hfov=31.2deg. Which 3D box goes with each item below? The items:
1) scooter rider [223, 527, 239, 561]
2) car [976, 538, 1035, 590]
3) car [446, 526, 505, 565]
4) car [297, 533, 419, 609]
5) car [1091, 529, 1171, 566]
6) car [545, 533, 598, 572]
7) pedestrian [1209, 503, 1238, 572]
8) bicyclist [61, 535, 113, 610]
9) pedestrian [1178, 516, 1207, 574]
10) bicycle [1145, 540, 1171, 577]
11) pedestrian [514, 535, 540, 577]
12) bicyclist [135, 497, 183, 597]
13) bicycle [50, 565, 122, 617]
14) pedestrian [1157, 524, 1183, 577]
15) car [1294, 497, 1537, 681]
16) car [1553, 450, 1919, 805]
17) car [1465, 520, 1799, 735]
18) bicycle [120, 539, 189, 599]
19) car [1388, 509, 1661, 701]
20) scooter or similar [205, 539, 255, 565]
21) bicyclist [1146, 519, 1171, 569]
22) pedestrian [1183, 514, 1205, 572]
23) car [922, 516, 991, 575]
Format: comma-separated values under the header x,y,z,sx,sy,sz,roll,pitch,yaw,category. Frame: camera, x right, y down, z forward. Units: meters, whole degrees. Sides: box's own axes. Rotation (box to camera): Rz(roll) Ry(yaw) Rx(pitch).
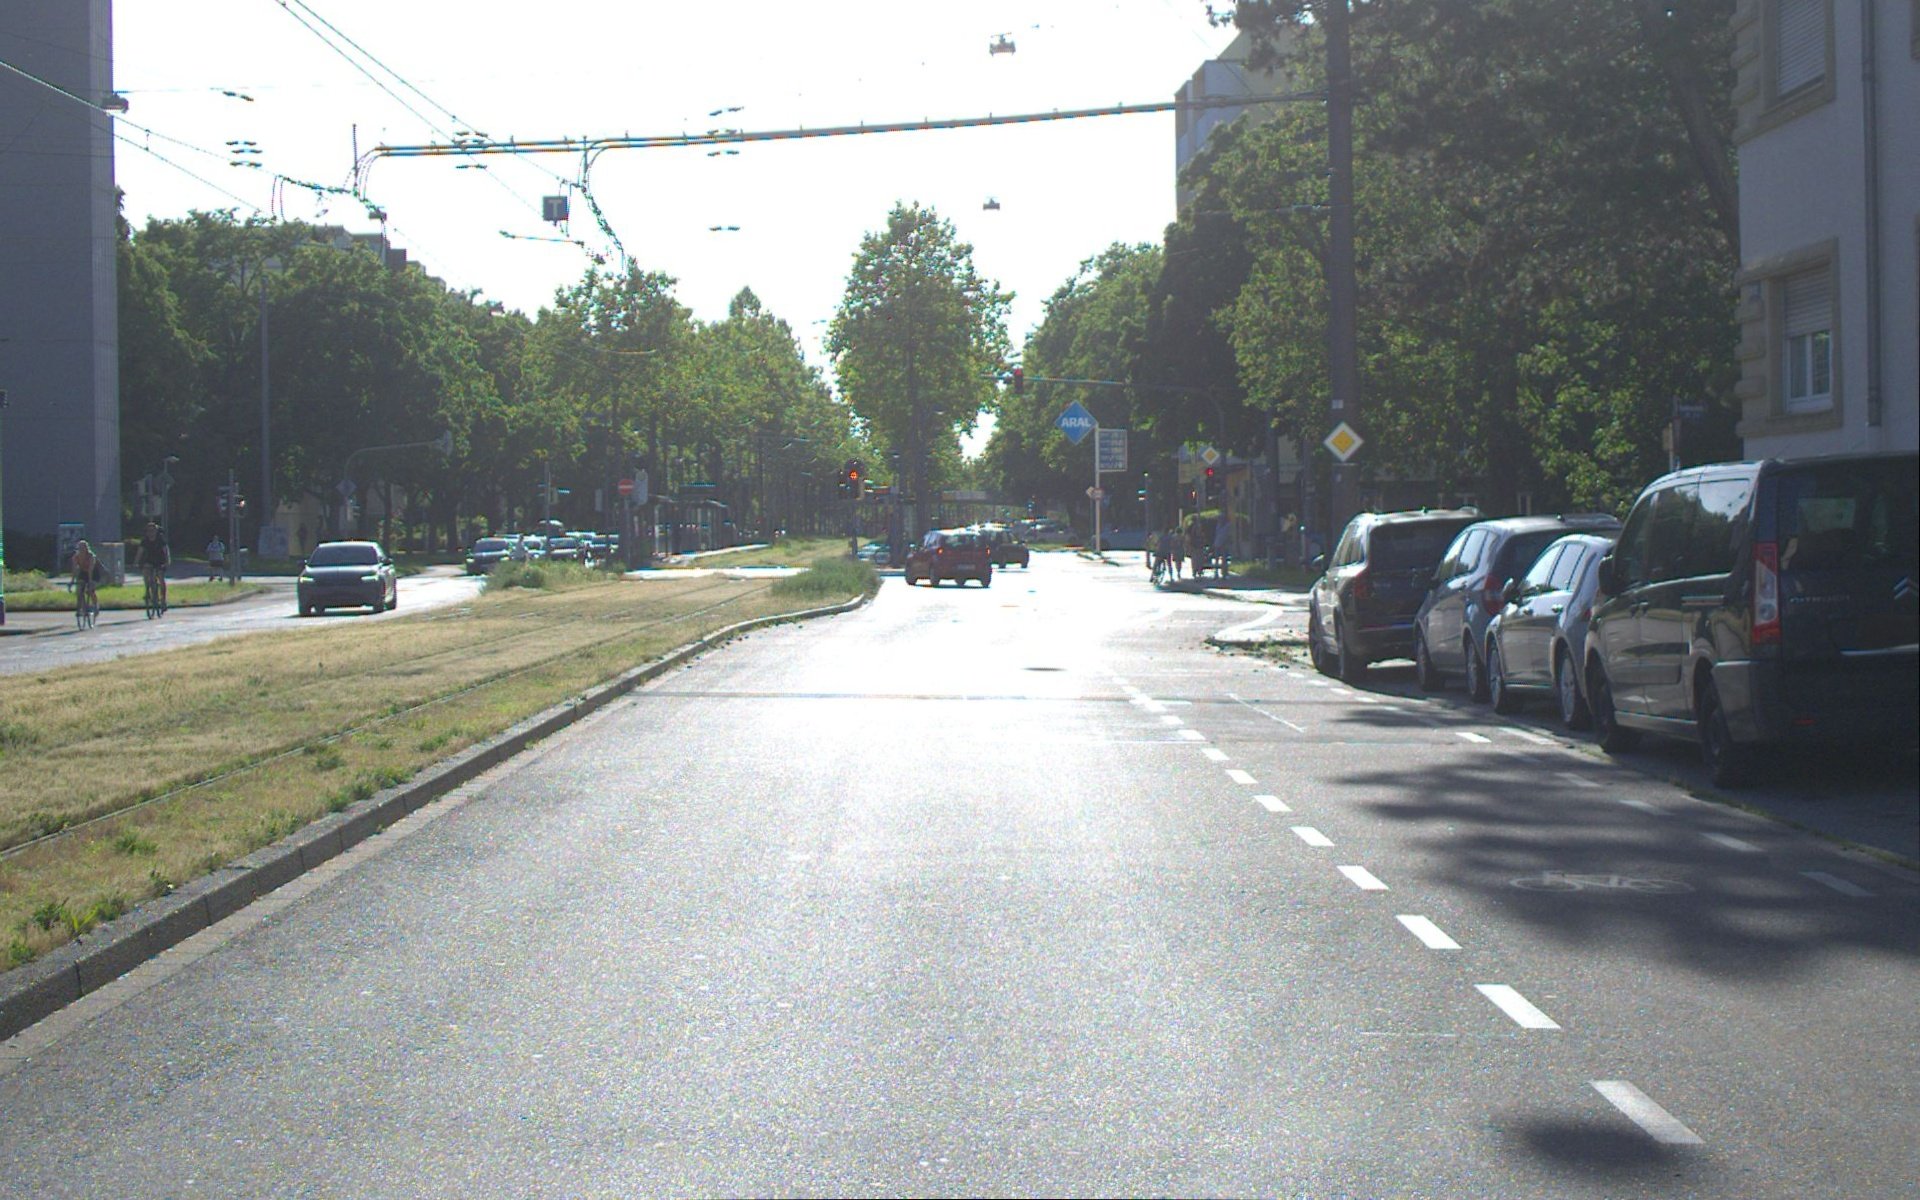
x,y,z,sx,sy,sz,roll,pitch,yaw,category
-26.301,-2.024,124.032,0.525,1.213,0.588,2,1,-16,scooter rider
1.683,-1.363,128.963,1.968,1.853,4.001,2,1,-2,car
-19.837,-2.234,140.880,1.806,1.527,4.361,-1,1,0,car
-12.381,-0.620,70.923,1.694,1.443,4.217,-2,2,0,car
9.126,-2.797,183.123,3.989,1.853,2.011,2,1,11,car
-16.021,-1.986,141.903,1.687,1.527,4.361,-1,1,0,car
7.058,-1.679,92.057,0.703,1.783,0.694,-3,2,5,pedestrian
-16.147,-0.511,63.614,0.773,1.379,0.648,-1,1,0,bicyclist
6.818,-1.606,100.672,0.730,1.676,0.532,2,1,12,pedestrian
5.406,-1.147,93.725,0.648,0.969,1.803,2,1,2,bicycle
-16.842,-1.715,133.608,0.891,1.601,0.613,2,1,0,pedestrian
-16.299,-1.079,69.996,0.773,2.007,0.648,2,1,0,bicyclist
-16.174,-0.174,63.656,0.768,0.876,2.069,-2,1,0,bicycle
6.144,-1.454,100.495,0.647,1.517,0.496,2,1,12,pedestrian
4.758,-0.170,36.563,1.879,1.711,4.934,-4,1,1,car
5.200,0.064,21.490,1.913,1.893,5.136,-4,1,-1,car
5.101,0.149,26.604,1.510,1.473,4.239,-2,1,-3,car
-16.402,-0.648,70.065,0.768,1.142,2.475,-3,1,0,bicycle
5.084,-0.001,31.428,1.593,1.573,3.897,-3,1,-3,car
-26.334,-1.723,124.053,1.734,0.896,0.563,-1,1,-16,scooter or similar
5.411,-1.525,93.694,0.638,1.318,0.803,2,1,2,bicyclist
6.275,-1.532,92.150,0.529,1.523,0.627,-2,1,5,pedestrian
-0.112,-1.480,92.623,1.694,1.503,3.700,1,1,-2,car
